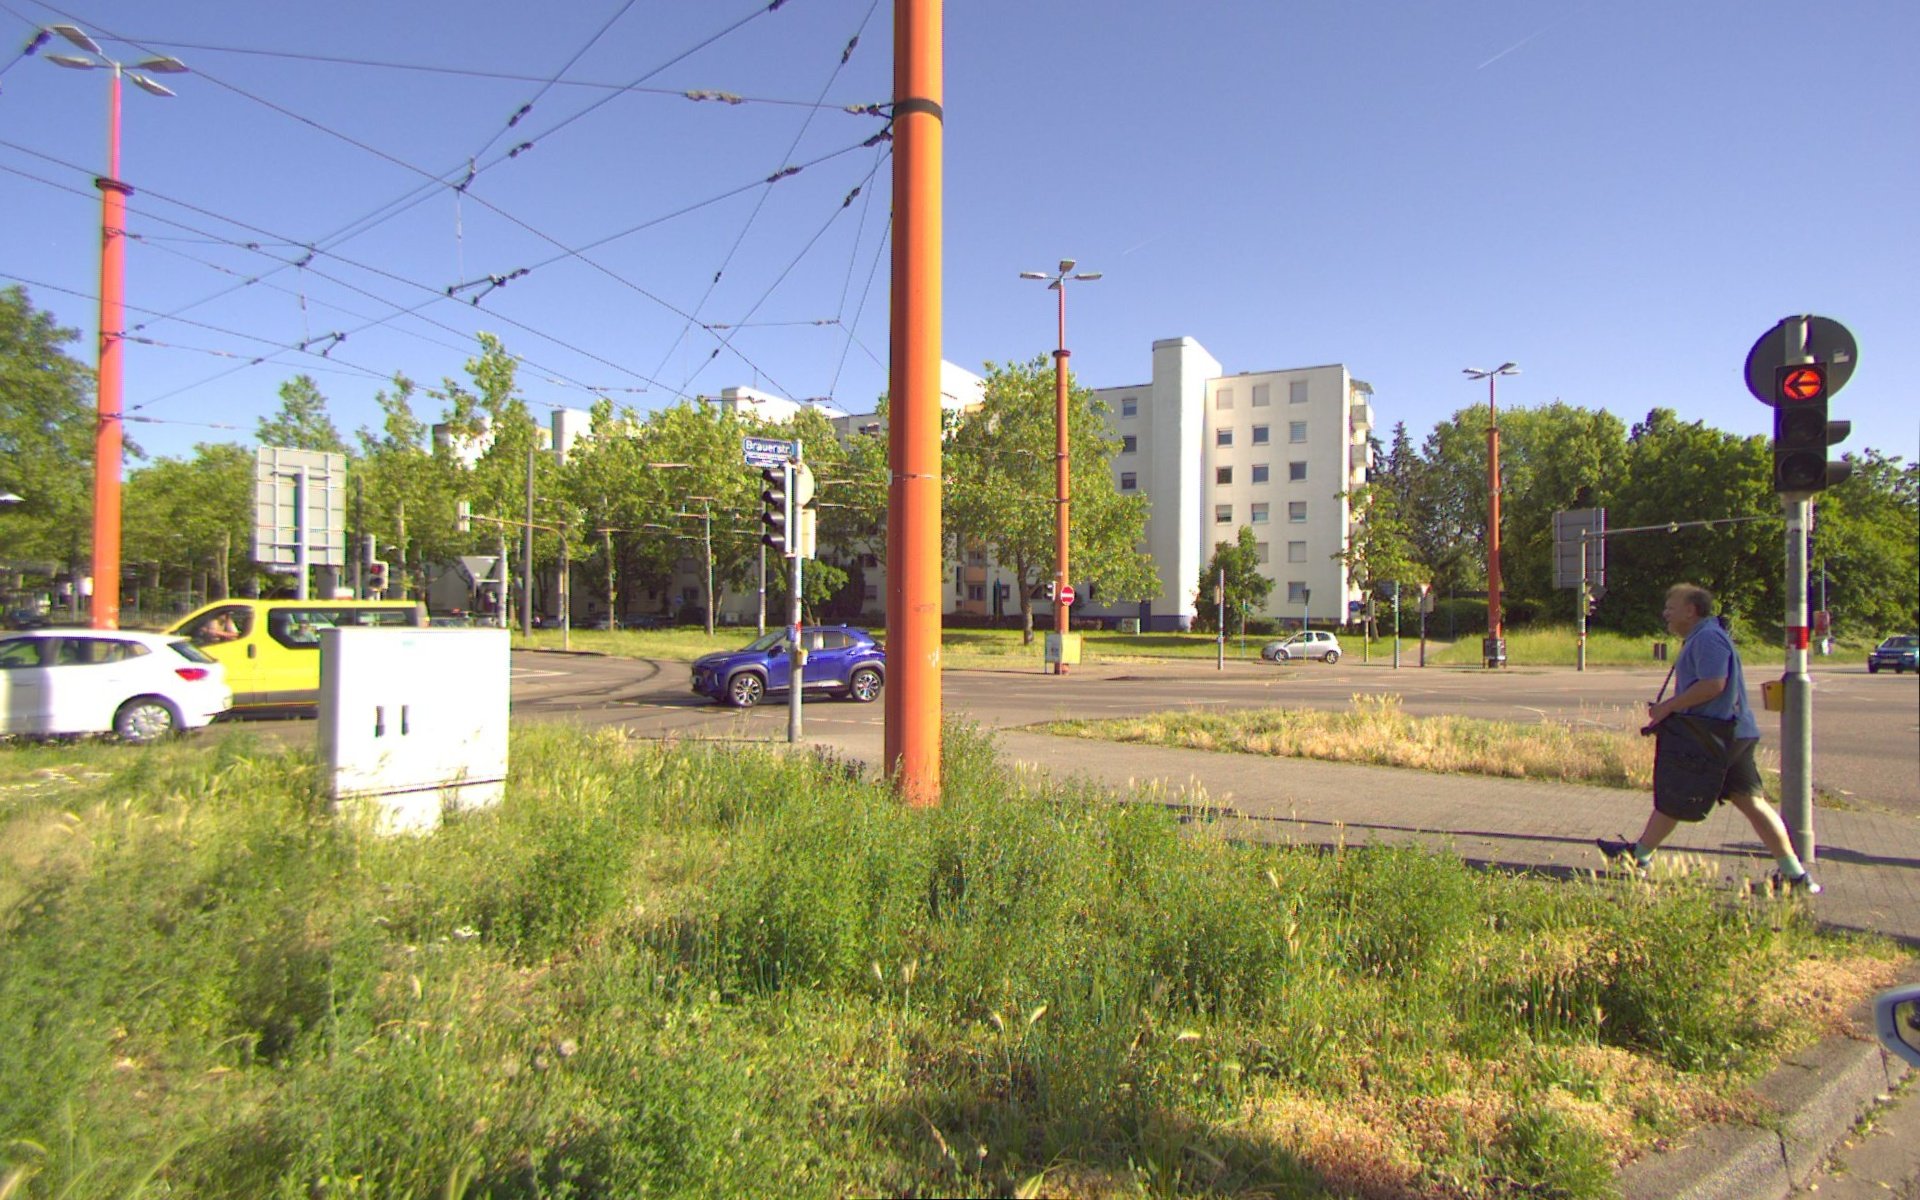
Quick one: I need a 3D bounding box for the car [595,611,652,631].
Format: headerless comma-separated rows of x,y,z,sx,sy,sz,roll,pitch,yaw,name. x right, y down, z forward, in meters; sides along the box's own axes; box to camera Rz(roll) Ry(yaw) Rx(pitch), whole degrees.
-24.991,1.548,74.692,3.934,1.428,1.794,1,-1,-16,car

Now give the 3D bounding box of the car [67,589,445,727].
-11.300,0.908,16.643,4.849,1.992,1.984,1,-2,-30,car

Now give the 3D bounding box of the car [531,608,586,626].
-31.933,1.359,79.967,3.935,1.428,1.794,1,-1,-17,car

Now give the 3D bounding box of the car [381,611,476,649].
-22.906,1.273,43.250,4.191,1.566,1.853,0,-1,34,car

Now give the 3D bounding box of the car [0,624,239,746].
-11.683,1.033,12.693,3.973,1.425,1.681,1,-1,-30,car

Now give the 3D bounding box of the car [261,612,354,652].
-28.702,1.385,44.148,4.179,1.658,1.825,0,-1,32,car

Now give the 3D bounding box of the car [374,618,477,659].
-20.588,1.446,38.648,3.993,1.454,1.682,0,-1,31,car

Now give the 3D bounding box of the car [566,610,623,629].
-27.572,1.477,75.916,3.934,1.428,1.794,1,-1,-16,car

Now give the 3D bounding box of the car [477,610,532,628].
-38.027,1.557,83.879,3.935,1.428,1.794,1,-1,-17,car

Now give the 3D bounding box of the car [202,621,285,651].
-34.476,1.708,48.316,4.287,1.368,1.761,0,-1,32,car

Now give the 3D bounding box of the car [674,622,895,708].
-3.585,1.276,20.673,4.058,1.595,1.984,1,-1,-30,car

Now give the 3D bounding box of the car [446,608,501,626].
-41.430,1.475,85.620,3.935,1.428,1.794,1,-1,-17,car

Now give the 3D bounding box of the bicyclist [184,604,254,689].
-13.951,0.869,18.931,0.752,1.565,0.732,1,-1,-1,bicyclist

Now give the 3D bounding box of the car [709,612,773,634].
-14.537,1.544,66.838,1.770,1.428,3.987,0,-1,35,car

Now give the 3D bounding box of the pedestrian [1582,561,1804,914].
4.257,0.717,5.852,0.973,1.817,0.951,0,-1,38,pedestrian

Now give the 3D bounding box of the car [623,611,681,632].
-22.250,1.539,72.641,3.934,1.428,1.794,1,-1,-16,car

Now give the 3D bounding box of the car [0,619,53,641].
-62.526,1.961,67.051,4.286,1.368,1.762,1,-1,31,car

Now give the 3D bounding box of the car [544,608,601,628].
-30.071,1.409,78.070,3.934,1.428,1.794,1,-1,-16,car

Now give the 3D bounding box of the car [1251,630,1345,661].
15.961,2.136,47.595,3.919,1.416,1.758,1,-1,8,car

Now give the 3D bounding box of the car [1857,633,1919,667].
37.163,1.962,39.620,3.571,1.260,1.730,1,-1,-31,car

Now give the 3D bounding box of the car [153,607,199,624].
-94.086,1.864,120.529,1.969,2.040,3.984,0,-1,38,car
